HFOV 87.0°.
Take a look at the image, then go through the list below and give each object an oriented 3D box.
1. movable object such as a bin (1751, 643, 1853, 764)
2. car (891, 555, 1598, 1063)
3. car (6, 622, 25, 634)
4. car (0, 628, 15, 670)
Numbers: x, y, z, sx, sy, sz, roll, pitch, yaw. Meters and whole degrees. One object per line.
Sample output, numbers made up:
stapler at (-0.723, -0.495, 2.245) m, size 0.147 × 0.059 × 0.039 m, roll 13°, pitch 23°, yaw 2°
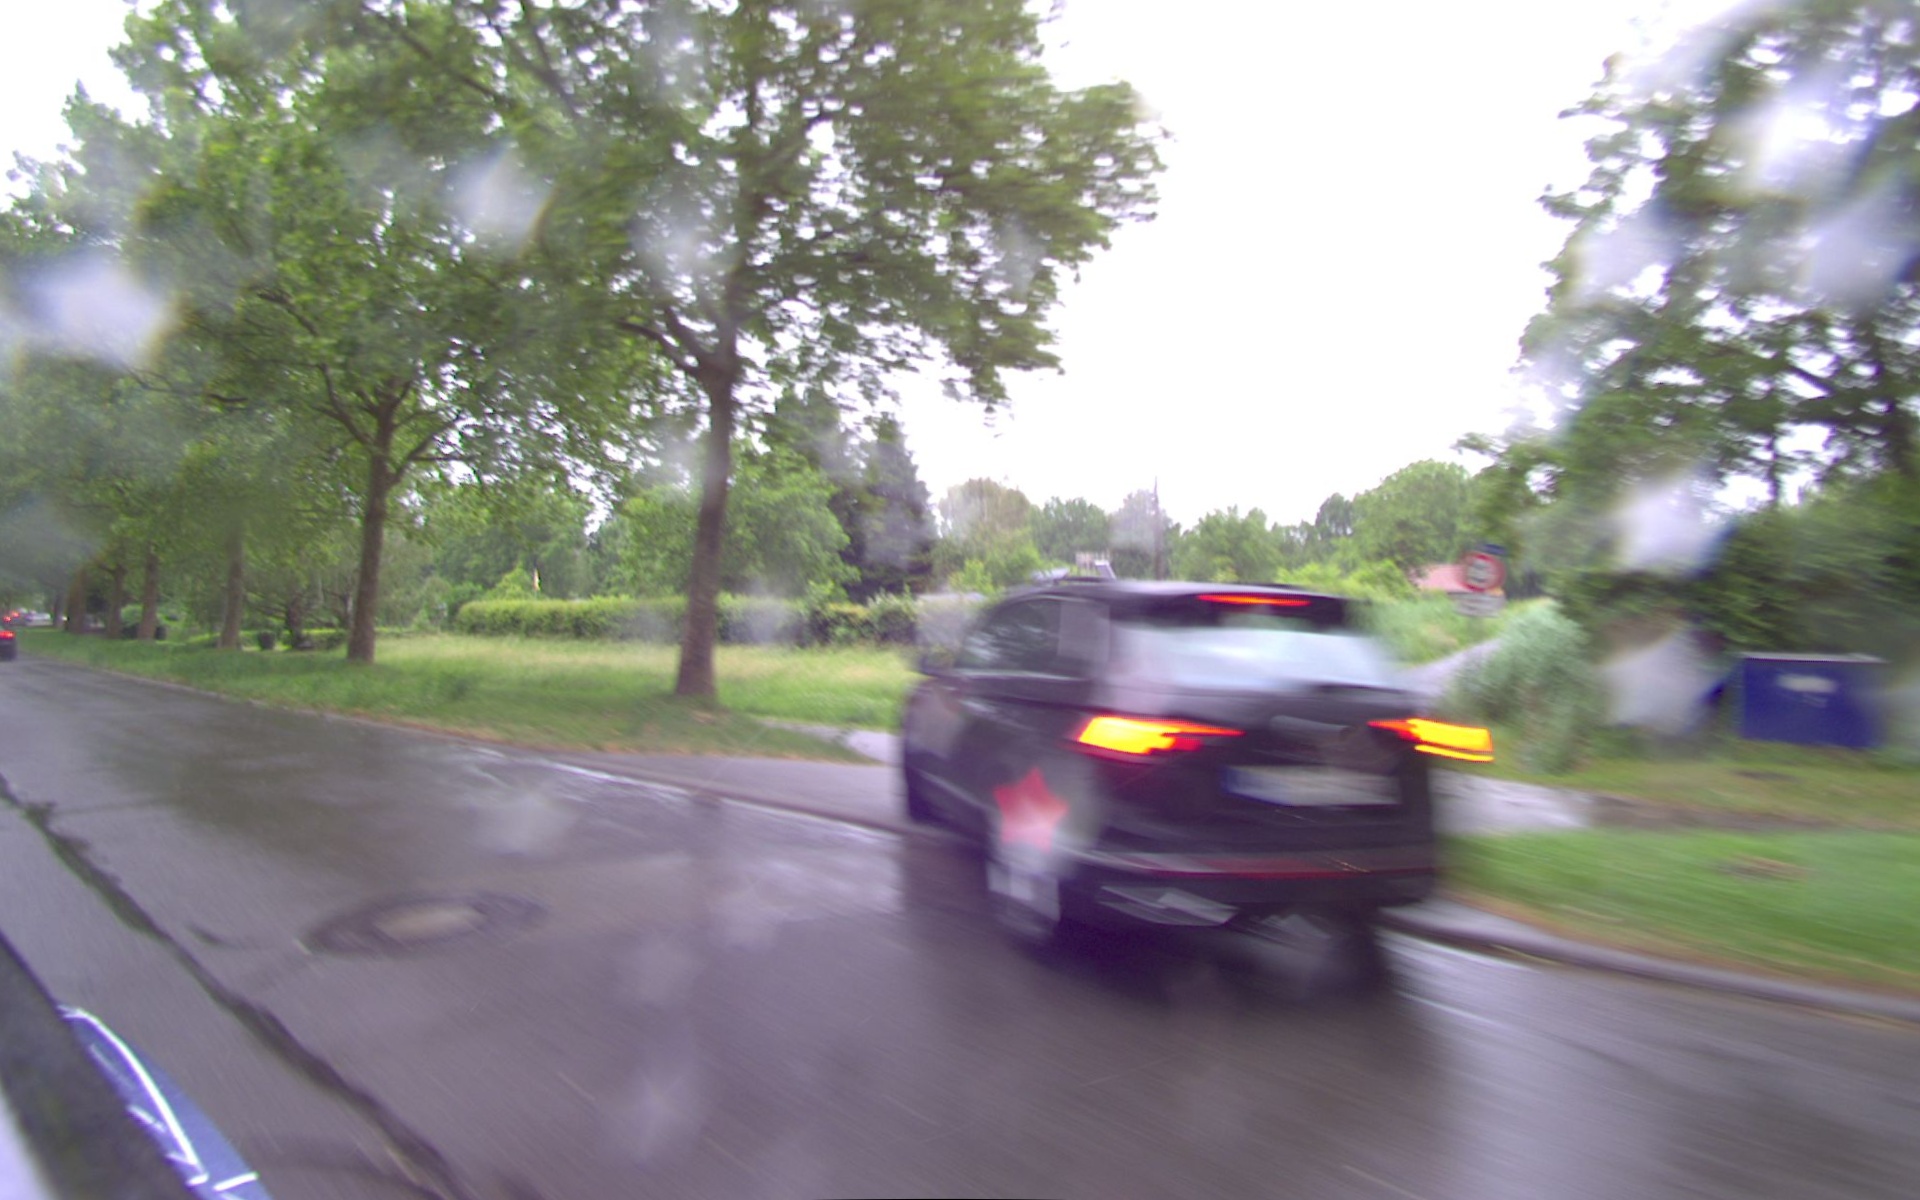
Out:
movable object such as a bin at (10.959, 1.313, 13.208) m, size 0.965 × 1.433 × 0.953 m, roll -2°, pitch 0°, yaw 39°
car at (0.893, 0.670, 5.511) m, size 1.708 × 1.600 × 4.322 m, roll -1°, pitch 0°, yaw -15°
car at (-137.437, 4.031, 147.230) m, size 1.841 × 1.763 × 5.018 m, roll 1°, pitch -2°, yaw -45°
car at (-34.697, 1.706, 35.553) m, size 4.222 × 1.434 × 1.713 m, roll -1°, pitch -2°, yaw 41°
